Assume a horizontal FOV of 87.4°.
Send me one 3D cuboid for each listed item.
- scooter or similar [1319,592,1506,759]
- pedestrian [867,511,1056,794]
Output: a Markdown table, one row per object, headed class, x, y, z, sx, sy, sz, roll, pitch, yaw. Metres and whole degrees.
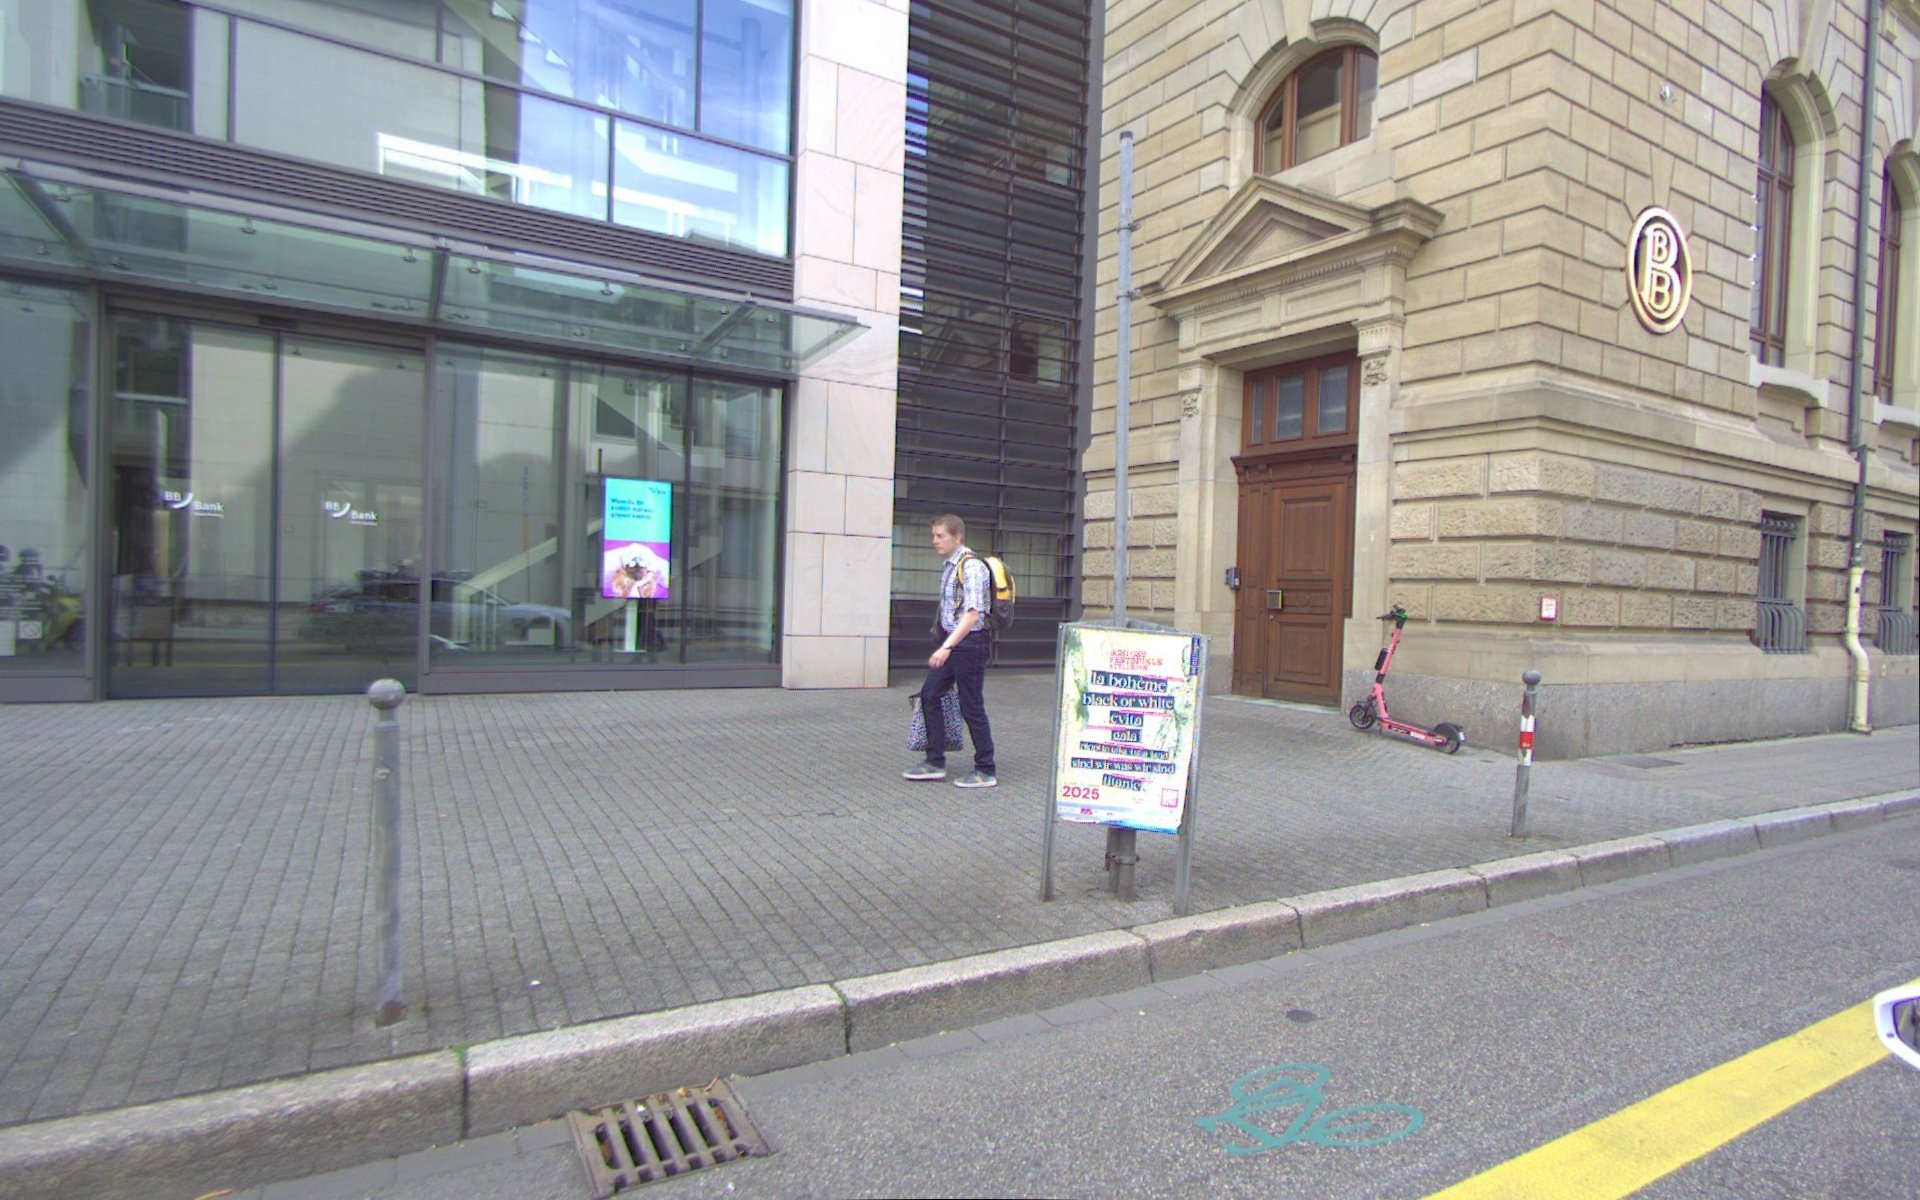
| class | x | y | z | sx | sy | sz | roll | pitch | yaw |
| --- | --- | --- | --- | --- | --- | --- | --- | --- | --- |
| scooter or similar | 4.139 | 0.642 | 9.300 | 0.580 | 1.328 | 1.439 | 0 | 4 | -30 |
| pedestrian | -0.017 | 0.313 | 6.811 | 0.809 | 1.743 | 1.021 | 2 | 2 | -30 |
